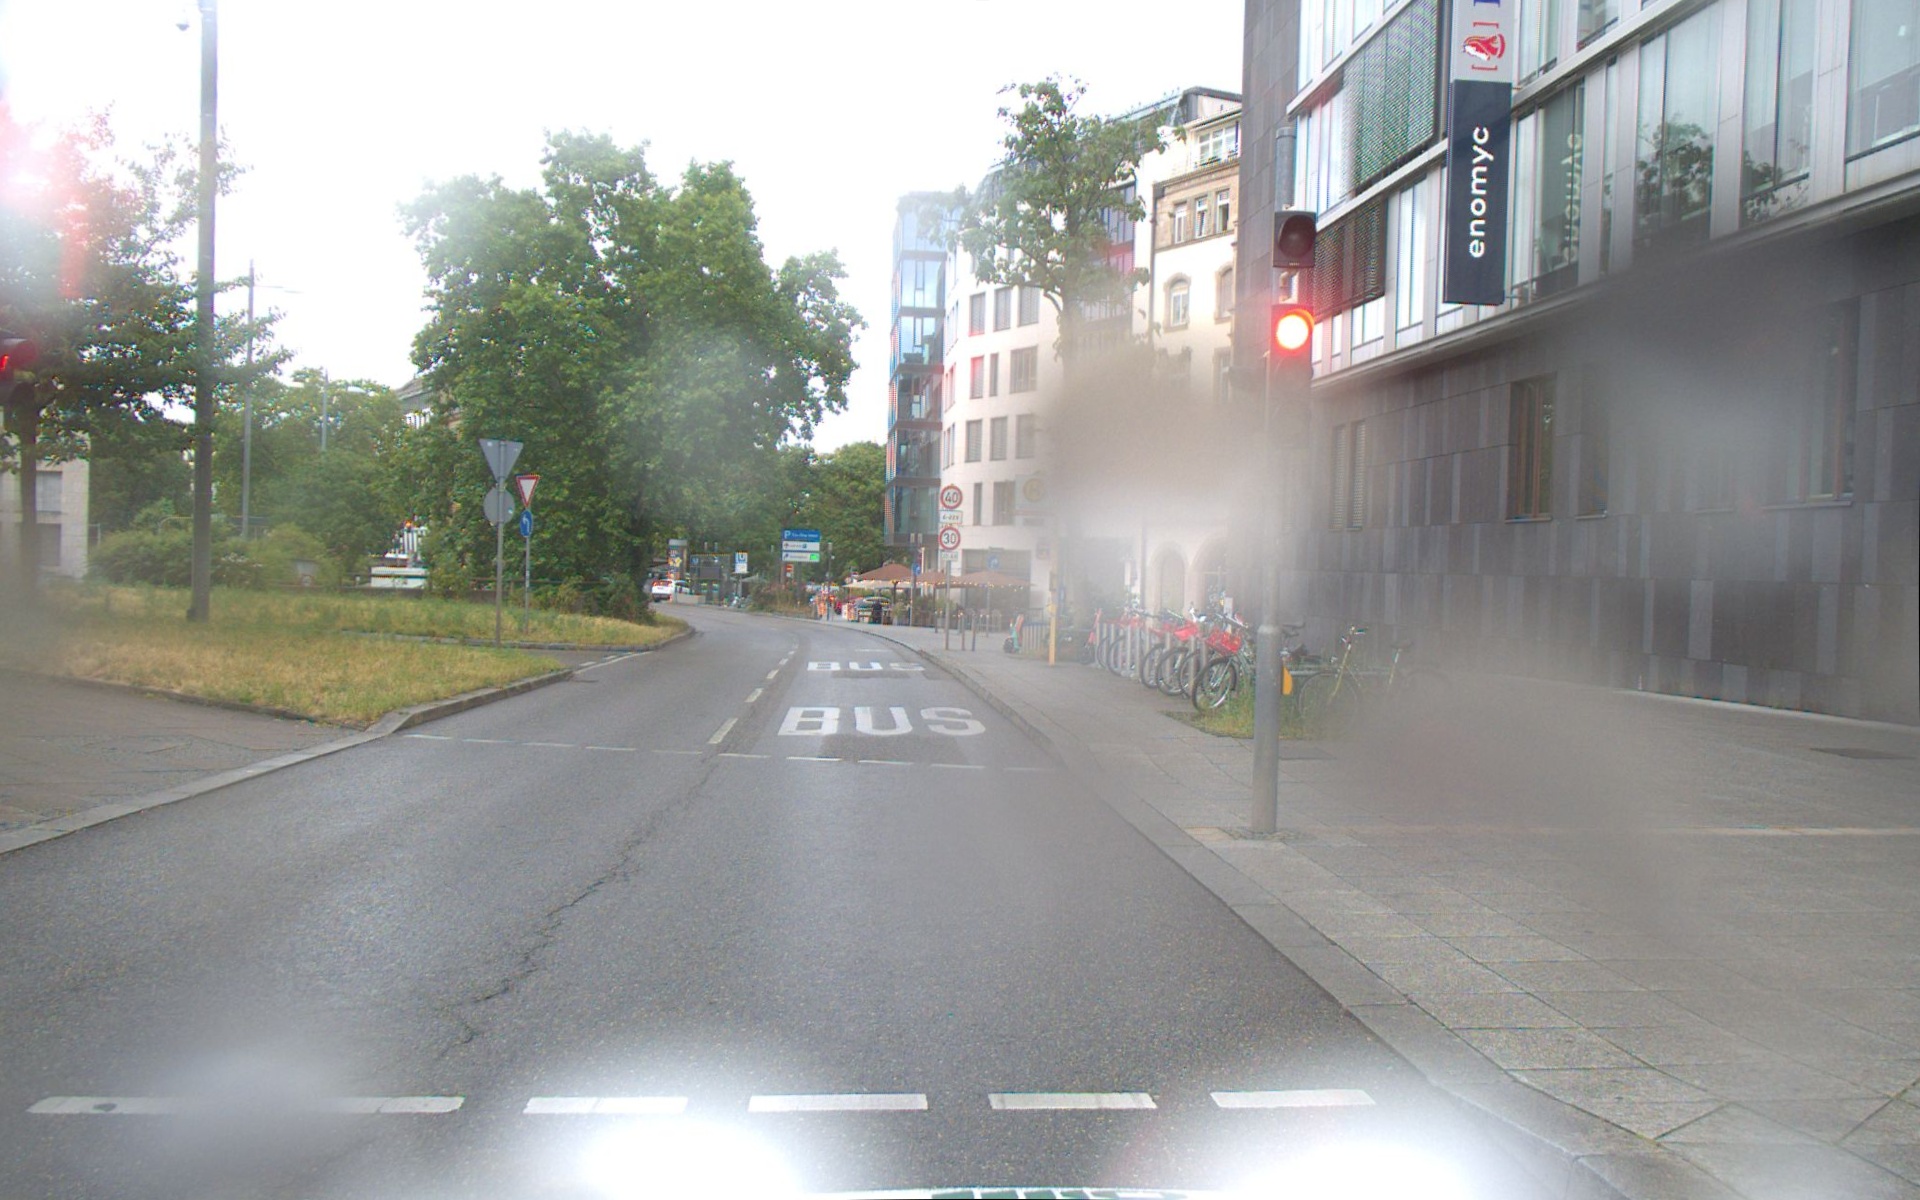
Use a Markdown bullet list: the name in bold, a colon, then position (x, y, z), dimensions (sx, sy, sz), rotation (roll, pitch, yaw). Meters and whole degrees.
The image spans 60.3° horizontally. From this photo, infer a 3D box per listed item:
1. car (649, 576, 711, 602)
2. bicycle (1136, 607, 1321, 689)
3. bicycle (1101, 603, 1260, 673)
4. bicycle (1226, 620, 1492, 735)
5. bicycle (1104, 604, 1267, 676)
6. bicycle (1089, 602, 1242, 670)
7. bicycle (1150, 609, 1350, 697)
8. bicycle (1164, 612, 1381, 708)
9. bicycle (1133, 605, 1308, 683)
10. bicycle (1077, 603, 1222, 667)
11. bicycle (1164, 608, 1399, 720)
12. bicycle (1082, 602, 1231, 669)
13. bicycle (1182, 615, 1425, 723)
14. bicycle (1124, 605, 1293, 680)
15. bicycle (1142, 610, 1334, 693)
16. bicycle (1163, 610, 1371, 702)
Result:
- **car**: position (-20.110, -0.752, 118.951), dimensions (2.147, 1.730, 3.977), rotation (2, 0, 41)
- **bicycle**: position (3.796, 0.673, 23.457), dimensions (2.486, 1.106, 0.677), rotation (1, 0, -6)
- **bicycle**: position (3.618, 0.622, 27.220), dimensions (2.486, 1.106, 0.677), rotation (1, 0, -6)
- **bicycle**: position (3.966, 0.764, 16.512), dimensions (2.487, 1.075, 0.677), rotation (1, 0, -6)
- **bicycle**: position (3.595, 0.640, 26.468), dimensions (2.486, 1.106, 0.677), rotation (1, 0, -6)
- **bicycle**: position (3.483, 0.605, 28.107), dimensions (2.486, 1.106, 0.677), rotation (1, 0, -6)
- **bicycle**: position (3.788, 0.692, 21.681), dimensions (2.486, 1.106, 0.677), rotation (1, 0, -6)
- **bicycle**: position (3.771, 0.722, 20.016), dimensions (2.486, 1.106, 0.677), rotation (1, 0, -6)
- **bicycle**: position (3.868, 0.655, 24.654), dimensions (2.486, 1.106, 0.677), rotation (1, 0, -6)
- **bicycle**: position (3.379, 0.620, 29.575), dimensions (2.486, 1.106, 0.627), rotation (1, 0, -6)
- **bicycle**: position (3.634, 0.721, 18.788), dimensions (2.487, 1.106, 0.677), rotation (3, 0, -6)
- **bicycle**: position (3.425, 0.614, 28.854), dimensions (2.486, 1.106, 0.677), rotation (1, 0, -6)
- **bicycle**: position (3.721, 0.744, 17.986), dimensions (2.487, 1.106, 0.677), rotation (1, 0, -6)
- **bicycle**: position (3.842, 0.649, 25.632), dimensions (2.486, 1.106, 0.677), rotation (1, 0, -6)
- **bicycle**: position (3.781, 0.691, 22.548), dimensions (2.486, 1.078, 0.677), rotation (1, 0, -6)
- **bicycle**: position (3.856, 0.701, 20.872), dimensions (2.486, 1.106, 0.677), rotation (1, 0, -6)
